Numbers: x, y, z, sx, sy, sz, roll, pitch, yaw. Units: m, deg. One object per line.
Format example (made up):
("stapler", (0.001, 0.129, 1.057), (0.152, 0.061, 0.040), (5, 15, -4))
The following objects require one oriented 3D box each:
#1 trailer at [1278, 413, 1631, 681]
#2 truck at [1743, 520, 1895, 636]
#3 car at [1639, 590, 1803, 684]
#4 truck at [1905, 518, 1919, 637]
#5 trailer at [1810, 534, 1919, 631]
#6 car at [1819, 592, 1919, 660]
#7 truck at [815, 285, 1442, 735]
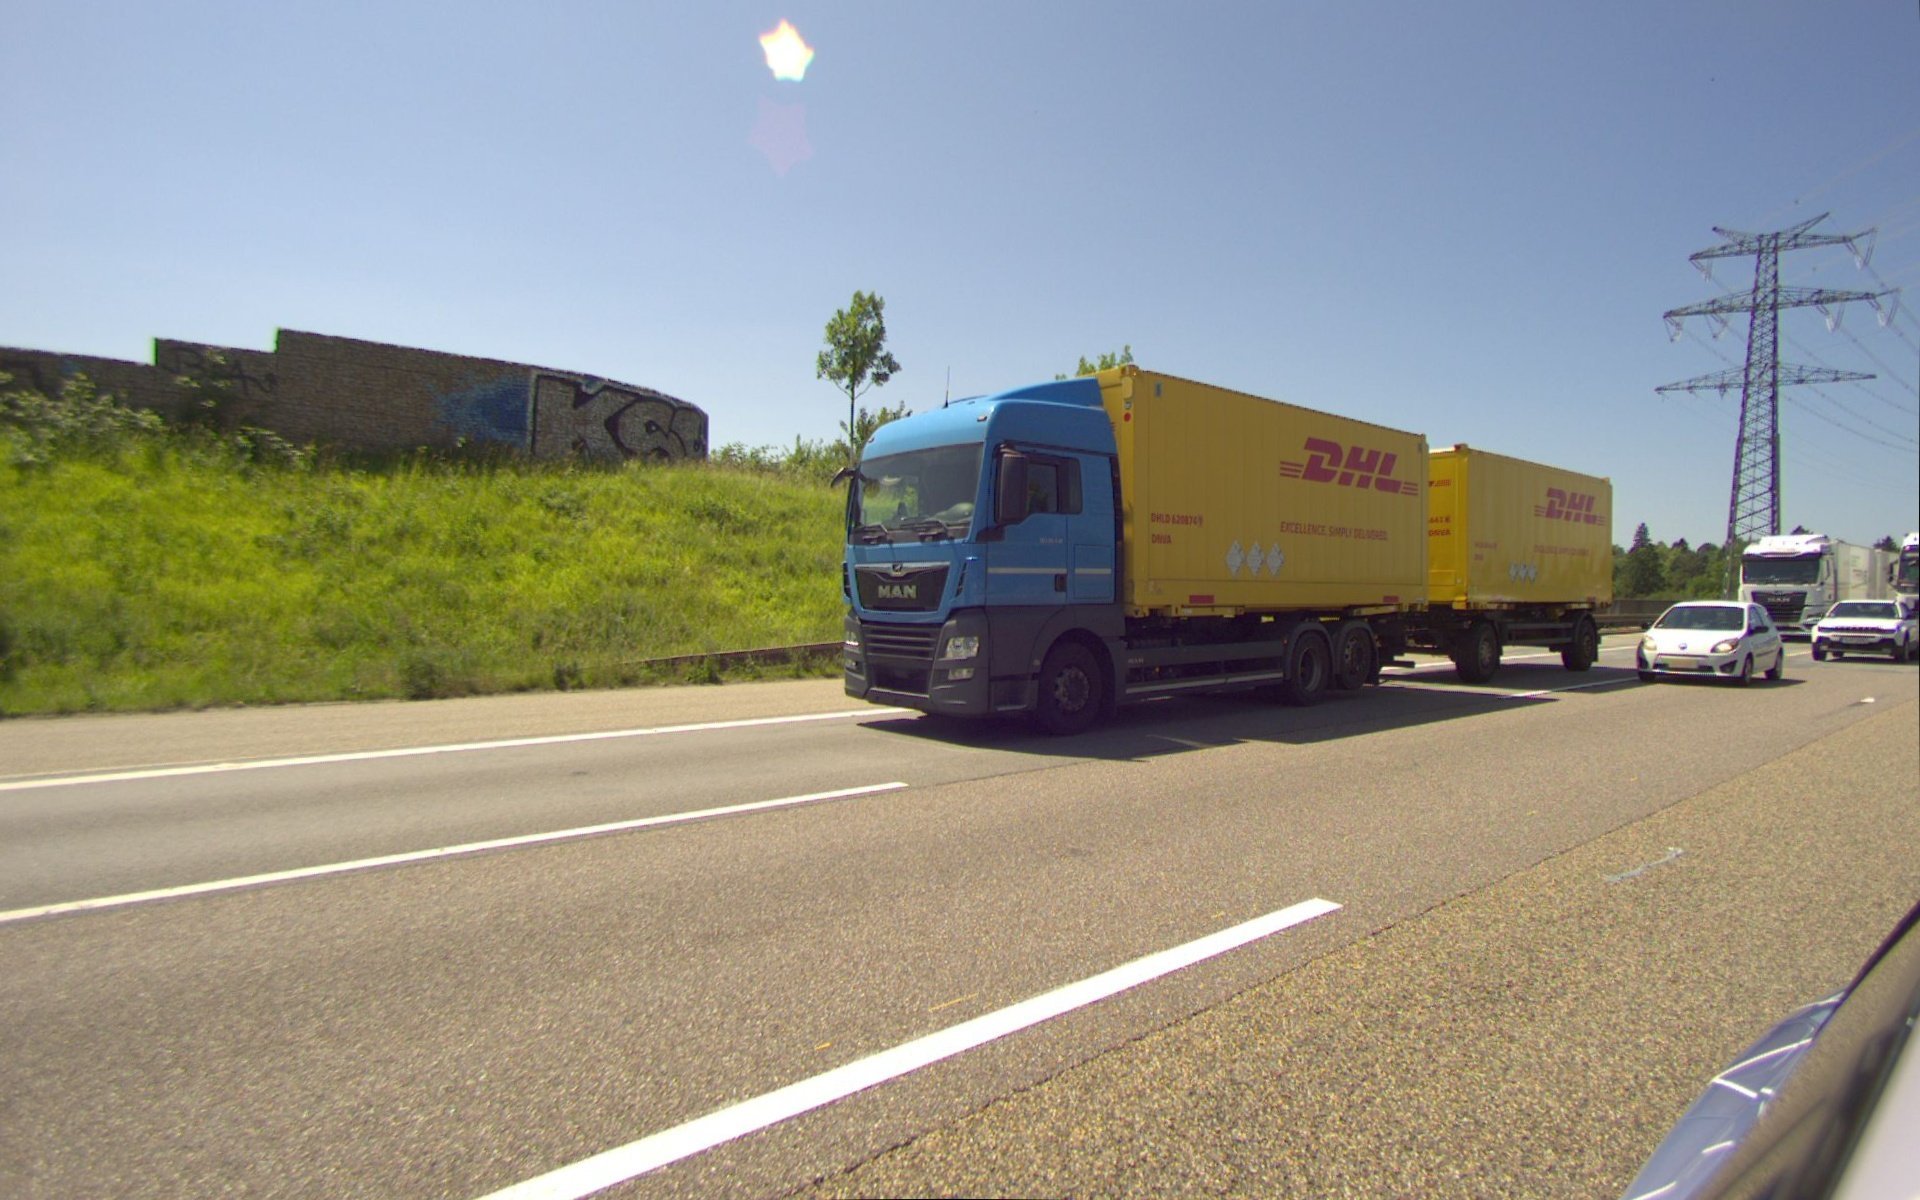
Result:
("trailer", (10.014, -0.794, 19.785), (9.210, 4.170, 2.770), (1, 0, -40))
("truck", (33.385, -0.772, 39.121), (11.096, 3.980, 2.694), (0, 0, -40))
("car", (14.053, 0.594, 18.622), (3.759, 1.529, 1.658), (-1, 1, -41))
("truck", (39.118, -0.758, 38.553), (13.999, 4.090, 2.717), (0, 0, -39))
("trailer", (40.564, -0.745, 45.172), (7.635, 3.991, 2.751), (0, 0, -40))
("car", (23.043, 0.586, 25.263), (3.782, 1.549, 1.775), (-1, 1, -39))
("truck", (2.947, -0.807, 13.639), (9.778, 4.161, 2.770), (1, 0, -41))
